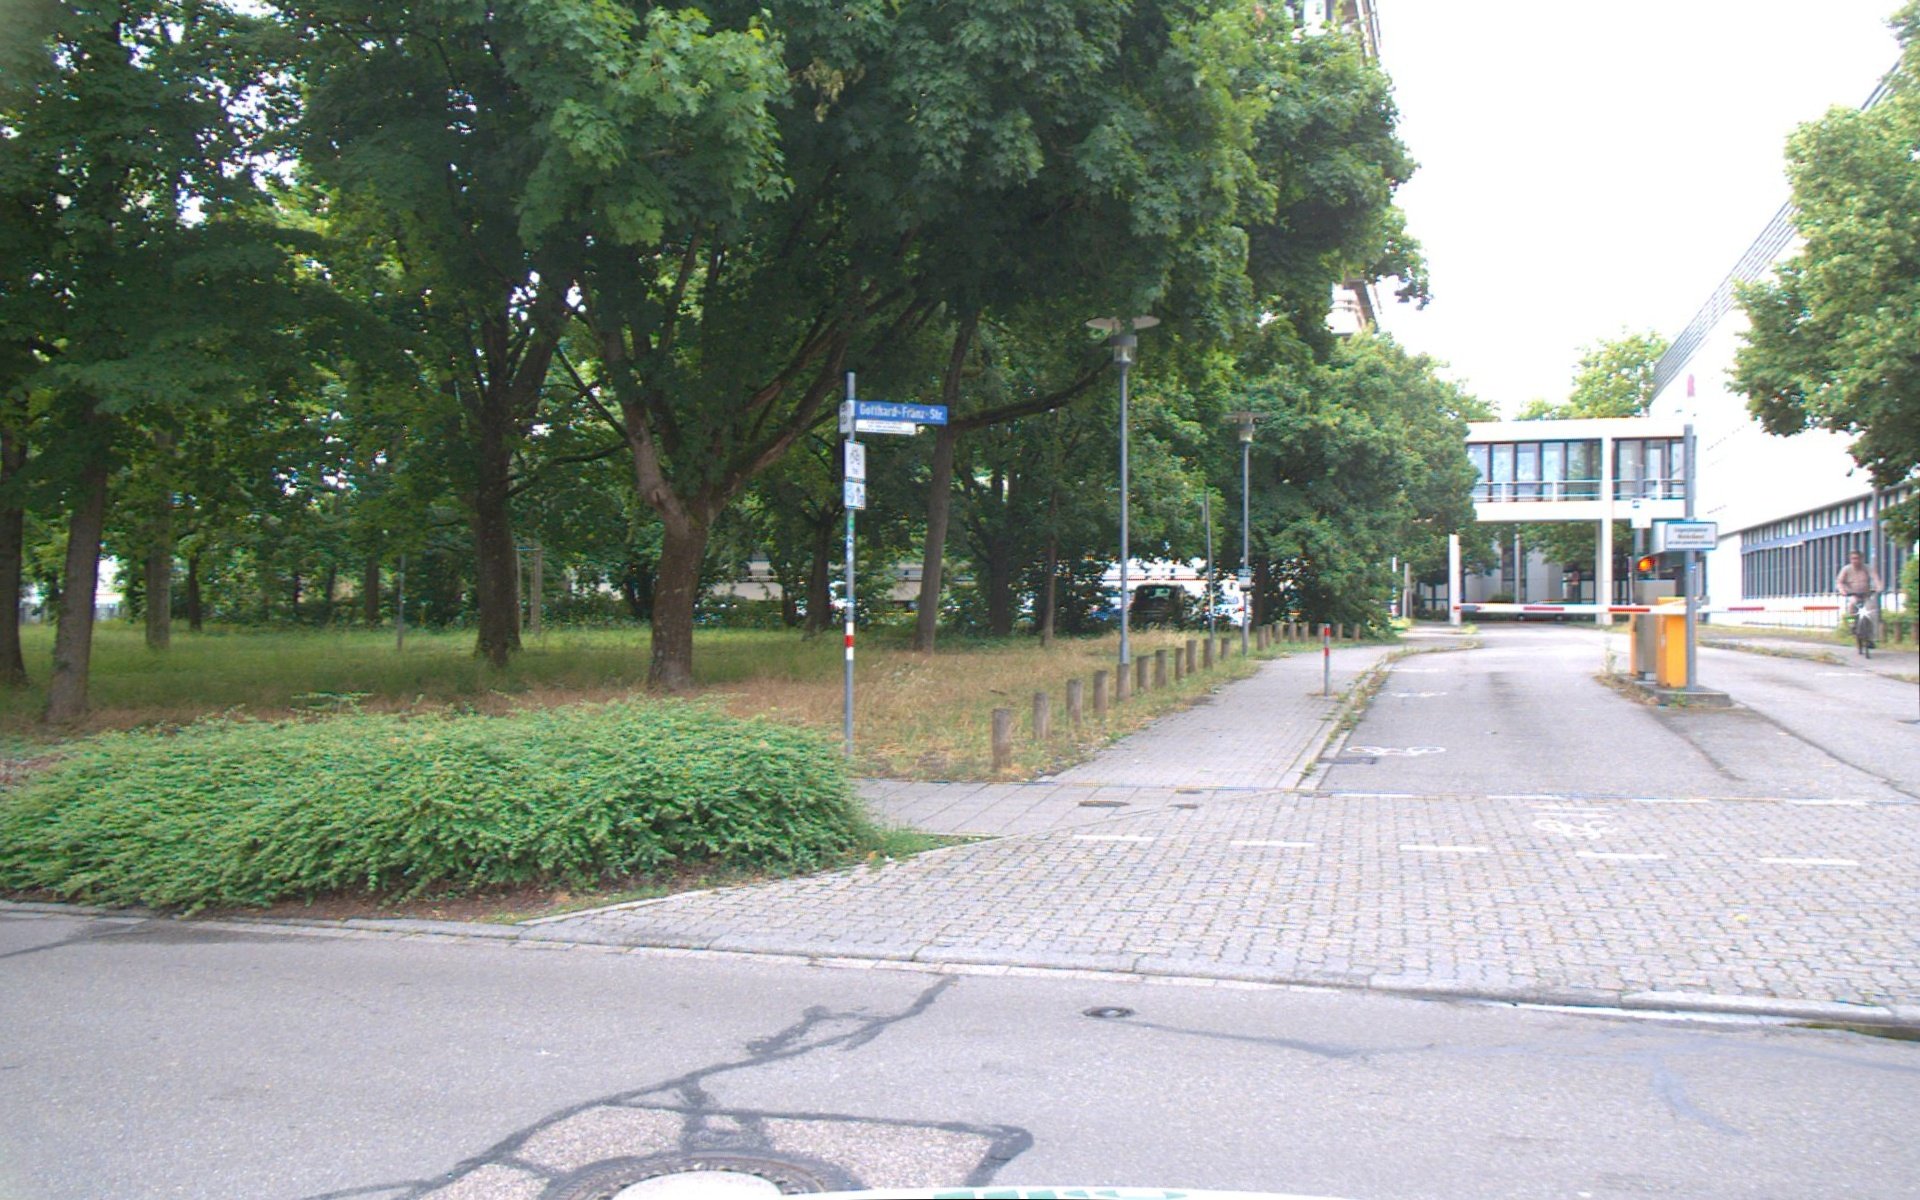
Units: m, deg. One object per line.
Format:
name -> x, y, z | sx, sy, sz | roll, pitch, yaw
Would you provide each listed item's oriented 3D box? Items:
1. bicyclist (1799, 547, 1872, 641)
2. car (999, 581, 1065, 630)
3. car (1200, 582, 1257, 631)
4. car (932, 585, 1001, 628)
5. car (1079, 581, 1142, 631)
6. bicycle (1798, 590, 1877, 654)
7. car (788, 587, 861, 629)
bicyclist -> 15.802, -0.113, 29.877 | 0.996, 1.673, 0.924 | 0, 0, 17
car -> 2.817, 0.248, 64.152 | 1.951, 1.758, 4.003 | 0, -2, 12
car -> 10.162, 0.271, 62.426 | 1.951, 1.793, 4.003 | 0, -1, 12
car -> 0.277, 0.244, 64.962 | 1.951, 1.646, 4.003 | 0, 0, 12
car -> 5.825, 0.259, 63.621 | 1.951, 1.825, 4.003 | 0, -2, 12
bicycle -> 15.836, 0.375, 29.896 | 0.848, 1.093, 2.143 | 0, 0, 17
car -> -5.449, 0.332, 67.003 | 1.876, 1.646, 4.003 | 0, 0, 12
